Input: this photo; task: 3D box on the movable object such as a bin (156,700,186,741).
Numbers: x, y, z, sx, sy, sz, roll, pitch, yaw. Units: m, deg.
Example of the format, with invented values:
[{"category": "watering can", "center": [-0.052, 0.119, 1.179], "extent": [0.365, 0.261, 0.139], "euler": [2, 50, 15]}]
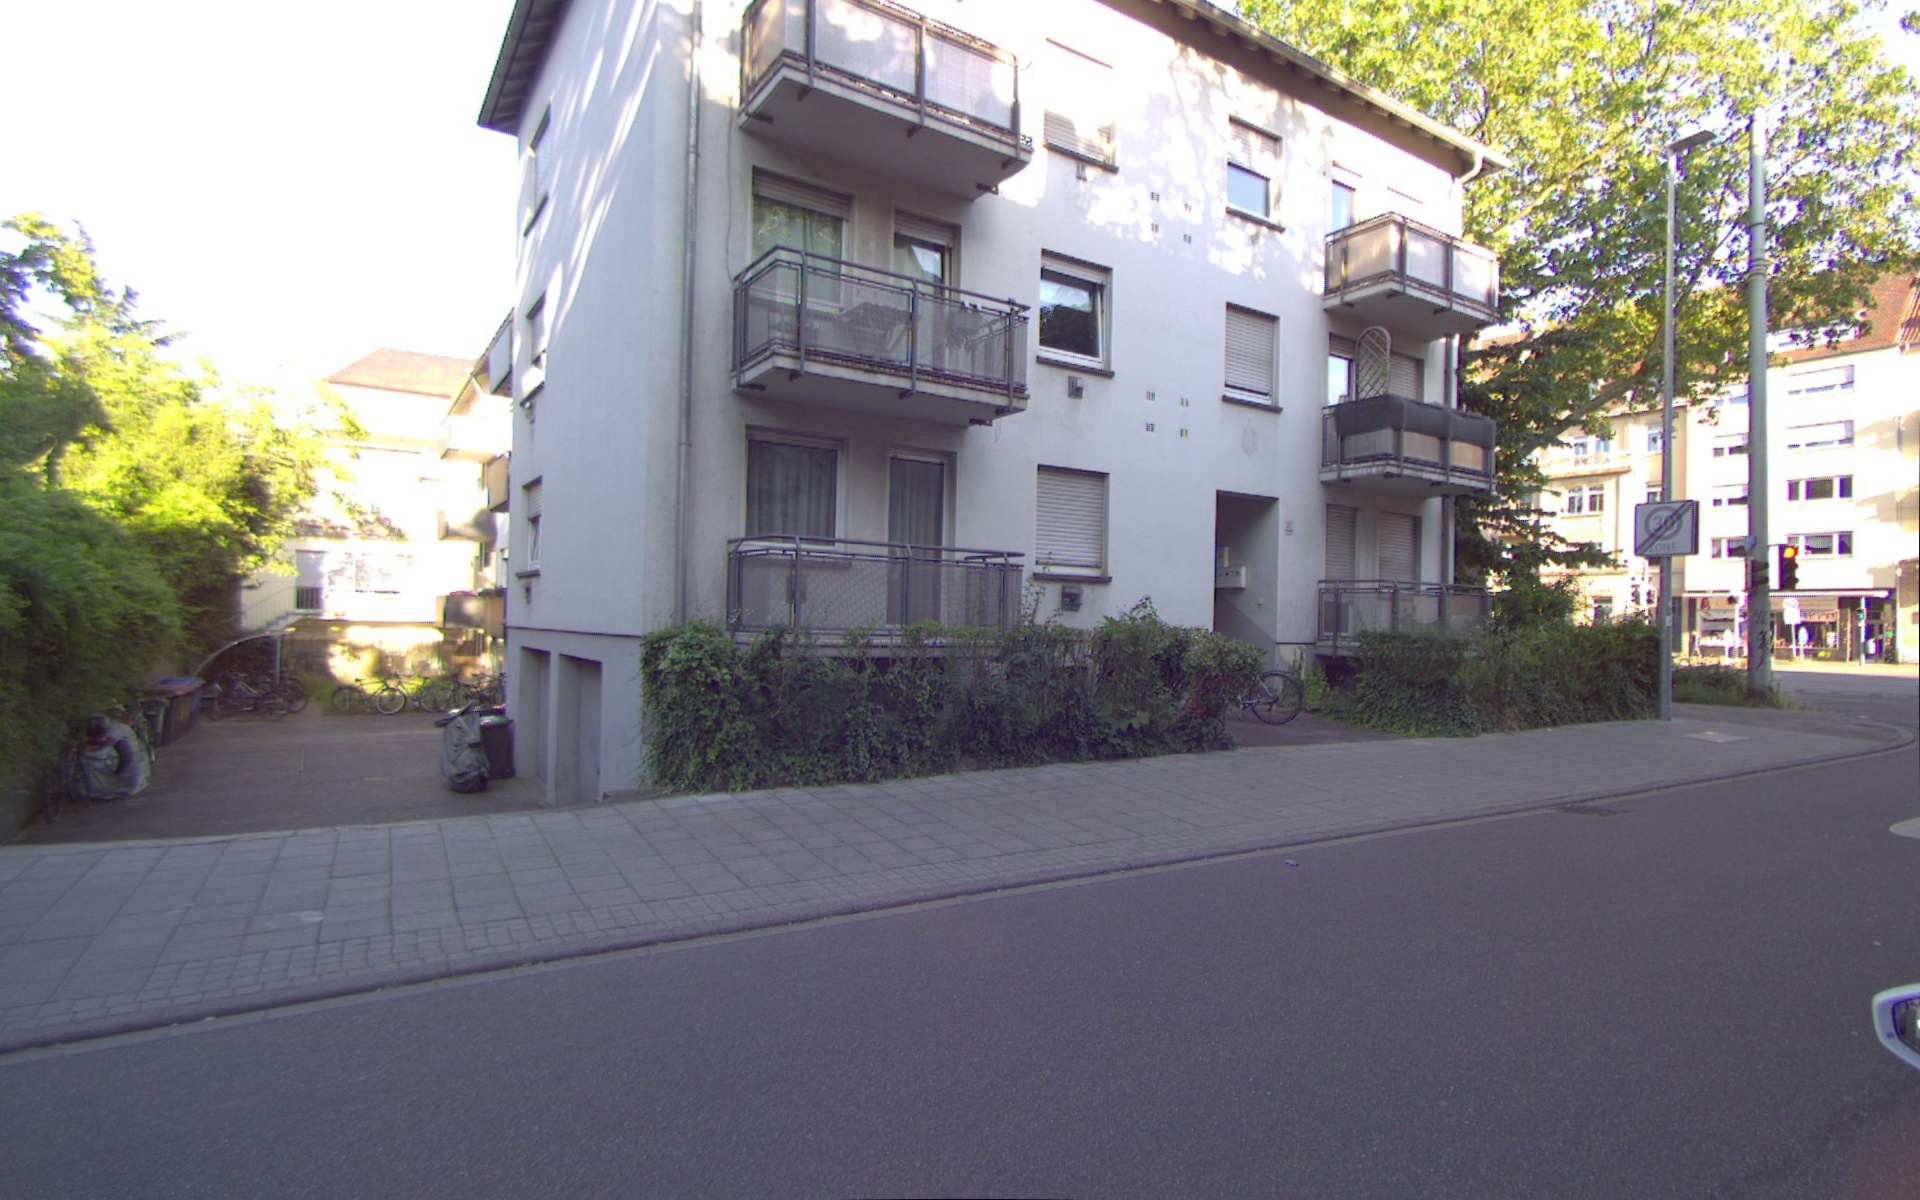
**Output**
[{"category": "movable object such as a bin", "center": [-15.638, 2.377, 19.921], "extent": [0.393, 0.784, 0.361], "euler": [2, -4, -30]}]

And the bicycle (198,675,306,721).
[{"category": "bicycle", "center": [-17.273, 2.391, 24.558], "extent": [2.045, 1.034, 0.637], "euler": [4, 0, -30]}]

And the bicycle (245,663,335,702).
[{"category": "bicycle", "center": [-19.015, 2.358, 28.573], "extent": [2.045, 1.034, 0.564], "euler": [4, 0, -30]}]

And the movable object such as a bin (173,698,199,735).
[{"category": "movable object such as a bin", "center": [-16.400, 2.467, 21.293], "extent": [0.362, 0.768, 0.361], "euler": [2, -4, -30]}]

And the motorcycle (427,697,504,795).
[{"category": "motorcycle", "center": [-7.409, 2.138, 15.022], "extent": [0.751, 1.268, 1.578], "euler": [1, -2, -36]}]

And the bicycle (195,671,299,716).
[{"category": "bicycle", "center": [-18.025, 2.373, 25.437], "extent": [2.045, 1.034, 0.568], "euler": [4, 0, -30]}]

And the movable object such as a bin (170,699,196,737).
[{"category": "movable object such as a bin", "center": [-16.207, 2.453, 20.952], "extent": [0.362, 0.768, 0.361], "euler": [2, -4, -30]}]

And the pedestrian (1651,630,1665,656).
[{"category": "pedestrian", "center": [41.229, 2.528, 59.323], "extent": [0.531, 1.531, 0.505], "euler": [1, -1, -33]}]

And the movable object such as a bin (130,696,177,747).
[{"category": "movable object such as a bin", "center": [-14.948, 2.247, 18.629], "extent": [0.570, 0.891, 0.491], "euler": [2, -4, -30]}]

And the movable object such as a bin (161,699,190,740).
[{"category": "movable object such as a bin", "center": [-15.822, 2.408, 20.261], "extent": [0.377, 0.784, 0.361], "euler": [2, -4, -30]}]

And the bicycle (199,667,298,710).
[{"category": "bicycle", "center": [-18.857, 2.353, 26.663], "extent": [2.045, 1.034, 0.611], "euler": [4, 0, -30]}]

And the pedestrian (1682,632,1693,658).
[{"category": "pedestrian", "center": [42.623, 2.618, 58.856], "extent": [0.467, 1.531, 0.429], "euler": [0, -1, 41]}]

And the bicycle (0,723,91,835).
[{"category": "bicycle", "center": [-11.008, 2.095, 12.067], "extent": [0.509, 1.033, 1.922], "euler": [3, -1, -32]}]

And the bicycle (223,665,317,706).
[{"category": "bicycle", "center": [-18.992, 2.355, 27.700], "extent": [2.045, 1.034, 0.611], "euler": [4, 0, -30]}]

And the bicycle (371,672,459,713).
[{"category": "bicycle", "center": [-14.739, 2.506, 27.200], "extent": [2.045, 1.034, 0.637], "euler": [4, 0, -30]}]

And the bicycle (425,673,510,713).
[{"category": "bicycle", "center": [-13.644, 2.579, 27.841], "extent": [2.045, 1.034, 0.637], "euler": [4, 0, -30]}]

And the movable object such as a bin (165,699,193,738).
[{"category": "movable object such as a bin", "center": [-16.020, 2.432, 20.603], "extent": [0.371, 0.768, 0.361], "euler": [2, -4, -30]}]

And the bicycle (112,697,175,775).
[{"category": "bicycle", "center": [-13.219, 2.175, 16.301], "extent": [0.509, 1.033, 1.922], "euler": [3, -1, -32]}]

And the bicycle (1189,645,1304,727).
[{"category": "bicycle", "center": [3.885, 1.147, 13.620], "extent": [1.433, 0.988, 0.407], "euler": [3, 0, 21]}]

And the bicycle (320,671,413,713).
[{"category": "bicycle", "center": [-15.690, 2.449, 26.621], "extent": [2.045, 1.034, 0.637], "euler": [4, 0, -30]}]

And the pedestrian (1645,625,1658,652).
[{"category": "pedestrian", "center": [40.367, 2.248, 58.603], "extent": [0.558, 1.531, 0.499], "euler": [0, -1, 41]}]

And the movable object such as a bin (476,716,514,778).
[{"category": "movable object such as a bin", "center": [-7.499, 2.355, 16.190], "extent": [0.428, 0.899, 0.720], "euler": [1, -2, -34]}]
